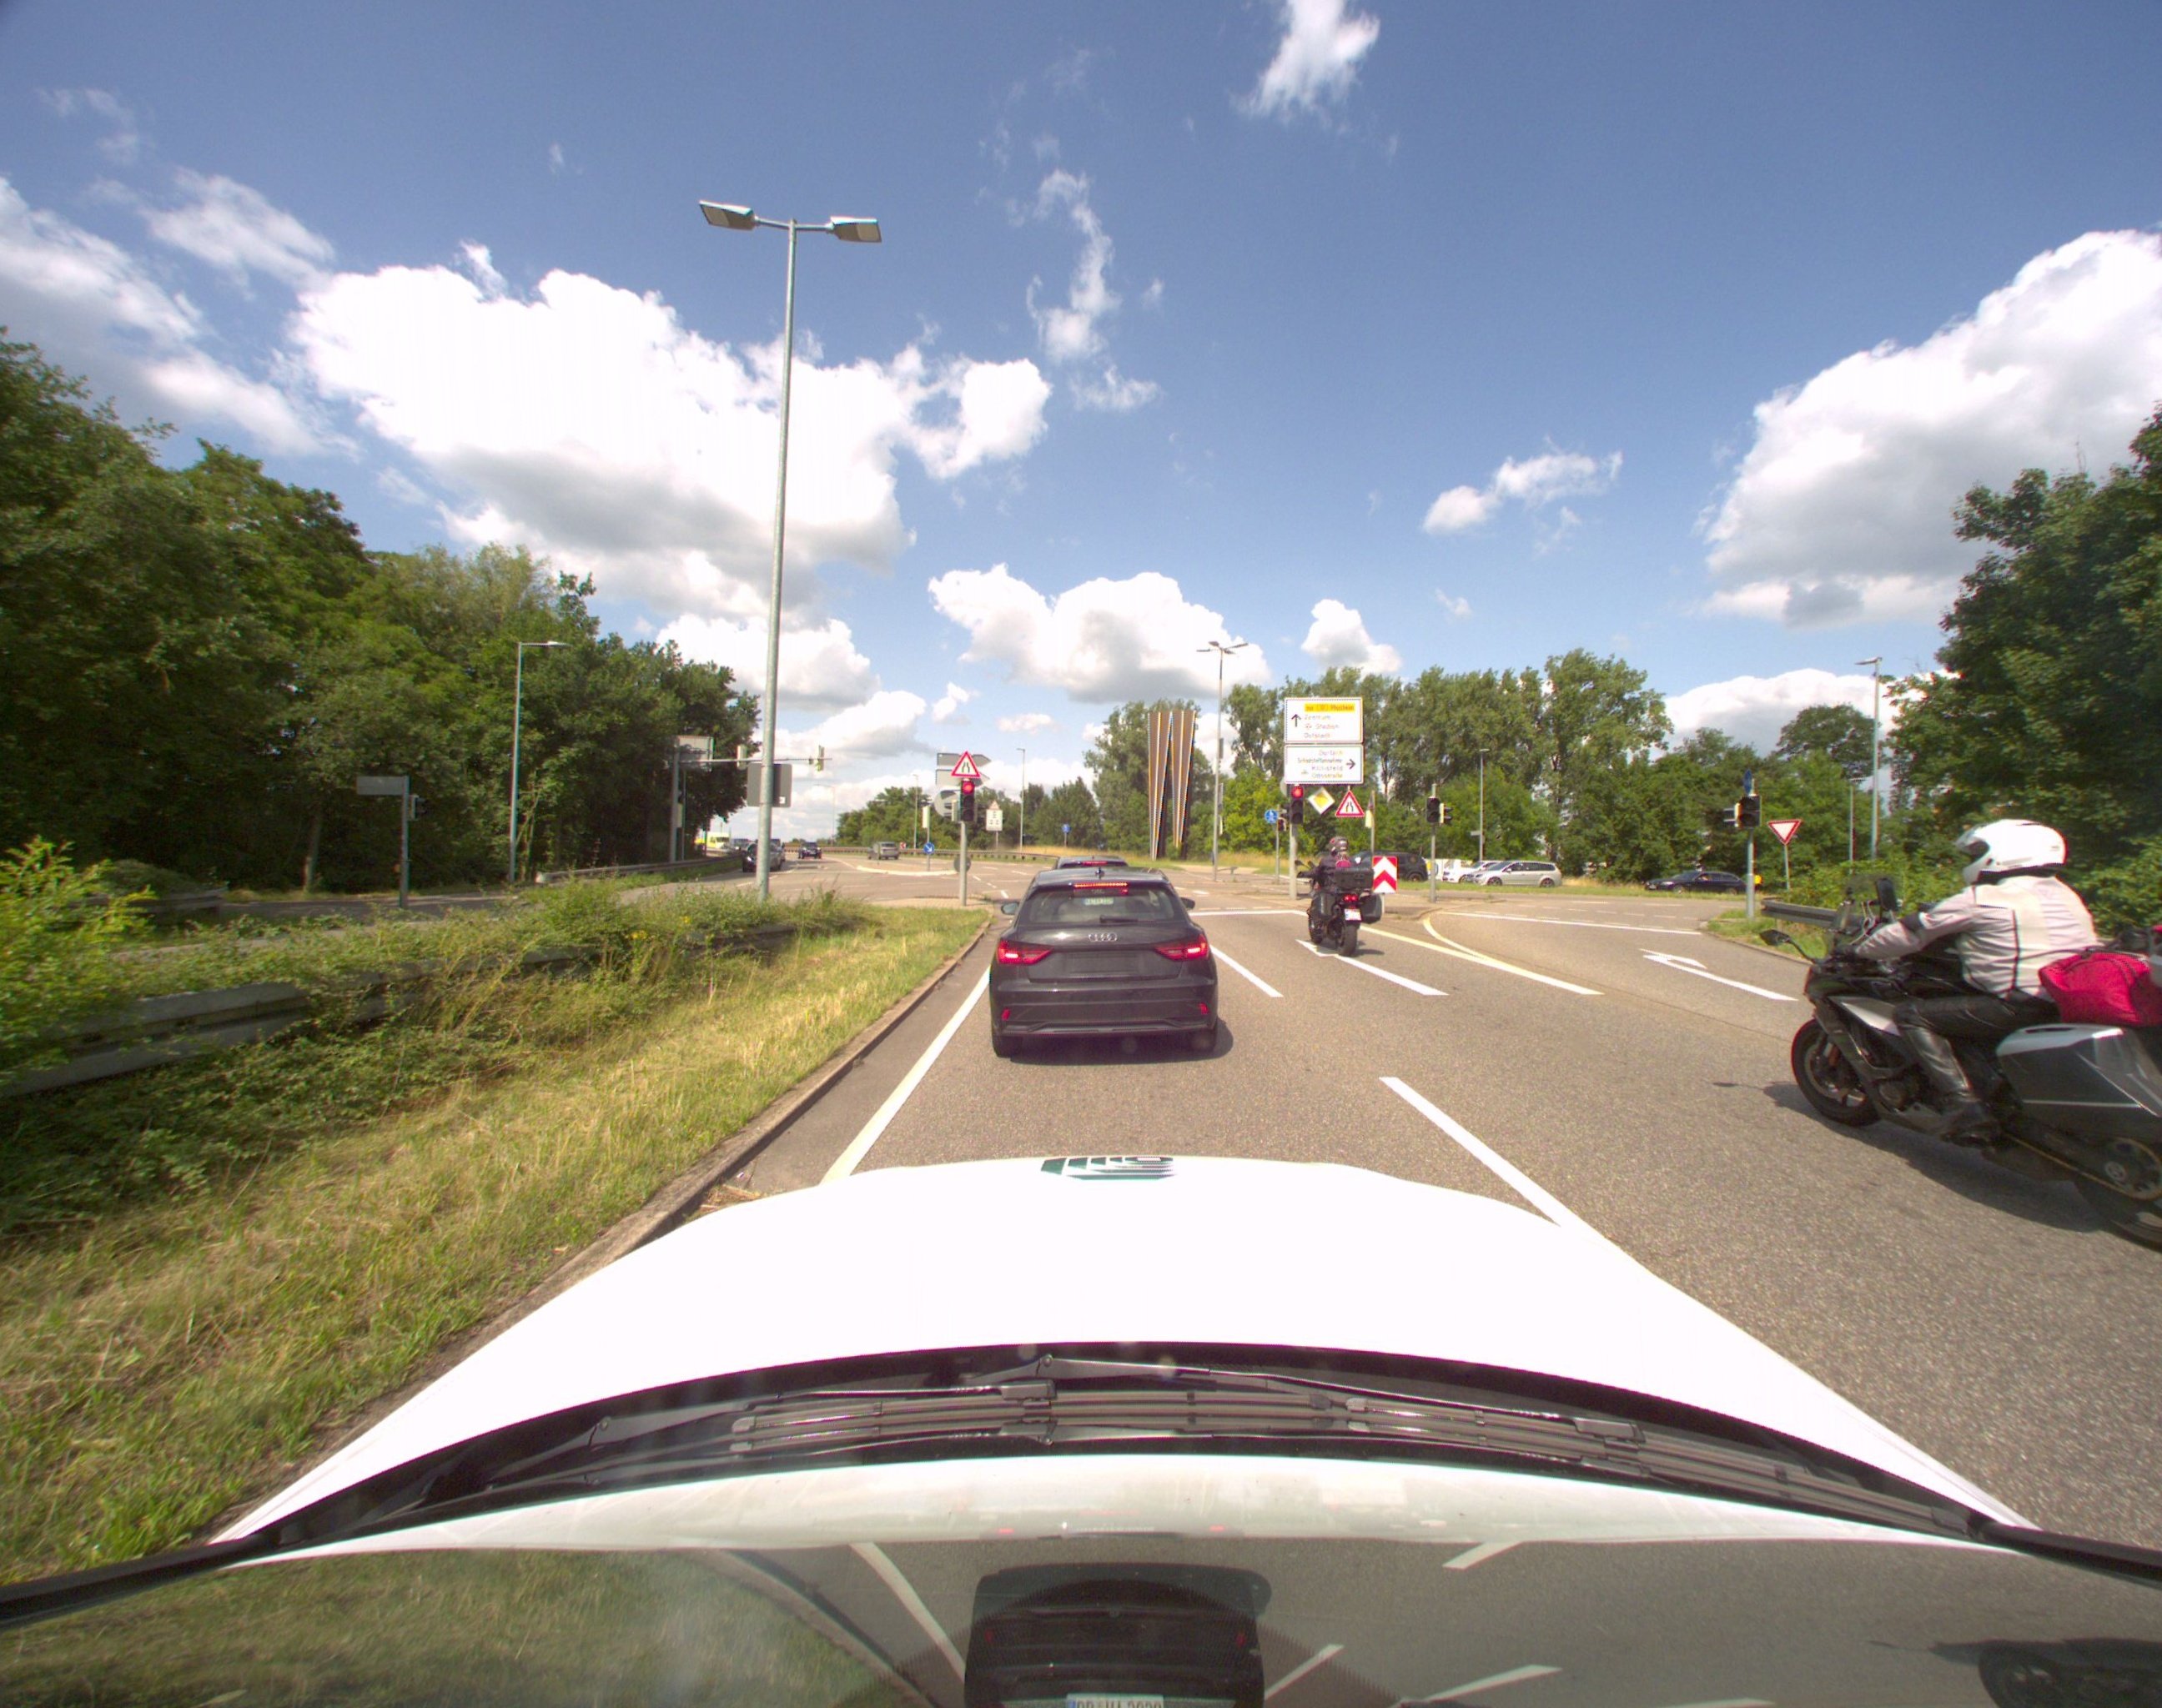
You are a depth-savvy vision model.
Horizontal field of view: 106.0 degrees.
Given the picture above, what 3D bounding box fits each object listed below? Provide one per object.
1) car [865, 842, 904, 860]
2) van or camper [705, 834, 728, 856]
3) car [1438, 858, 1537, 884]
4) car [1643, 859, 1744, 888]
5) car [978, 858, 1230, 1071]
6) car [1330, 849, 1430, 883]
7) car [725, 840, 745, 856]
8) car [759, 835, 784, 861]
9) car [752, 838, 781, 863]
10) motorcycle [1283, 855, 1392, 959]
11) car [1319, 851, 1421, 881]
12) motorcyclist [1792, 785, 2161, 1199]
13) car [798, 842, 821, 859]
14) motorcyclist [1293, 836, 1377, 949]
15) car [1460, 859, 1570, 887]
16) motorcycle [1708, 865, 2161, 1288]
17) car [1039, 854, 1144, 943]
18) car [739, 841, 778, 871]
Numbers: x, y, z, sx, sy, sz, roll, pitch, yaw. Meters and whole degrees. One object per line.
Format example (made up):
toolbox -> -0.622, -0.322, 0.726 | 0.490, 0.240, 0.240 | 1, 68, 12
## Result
car -> -17.054, -0.281, 70.475 | 2.008, 1.496, 4.076 | 1, 0, -34
van or camper -> -46.601, -1.095, 103.946 | 2.006, 2.683, 6.798 | 0, 0, -30
car -> 21.752, 0.890, 43.641 | 4.481, 1.281, 1.736 | 1, 0, -2
car -> 33.118, 1.052, 44.083 | 4.212, 1.476, 1.736 | 1, 0, -2
car -> 0.222, 0.777, 7.666 | 1.720, 1.404, 4.002 | -1, 0, 2
car -> 14.528, 0.574, 39.689 | 4.253, 1.545, 1.737 | 1, 0, 0
car -> -38.804, -0.654, 91.278 | 1.853, 1.705, 4.289 | 1, 0, -26
car -> -25.745, -0.498, 67.637 | 1.850, 2.100, 4.295 | 1, 0, -22
car -> -23.192, -0.253, 60.224 | 1.849, 1.802, 4.299 | 1, 0, -19
motorcycle -> 3.731, 0.714, 12.082 | 0.933, 1.383, 2.371 | 0, 0, 2
car -> 15.405, 0.632, 43.525 | 4.831, 1.545, 1.737 | 1, 0, 0
motorcyclist -> 4.139, 0.564, 3.801 | 0.862, 1.700, 0.895 | 0, 0, 1
car -> -25.123, -0.341, 75.378 | 1.738, 1.496, 4.017 | 1, 0, -22
motorcyclist -> 3.734, 0.540, 12.071 | 0.933, 1.590, 1.084 | 0, 0, 1
car -> 21.116, 0.914, 39.709 | 4.460, 1.320, 1.736 | 1, 0, -2
motorcycle -> 4.136, 0.773, 3.661 | 0.862, 1.389, 2.371 | 0, 0, 2
car -> 0.108, 0.734, 15.475 | 1.722, 1.423, 3.841 | -1, 0, -2
car -> -18.258, 0.126, 46.168 | 1.844, 1.618, 3.974 | 0, -1, -19
